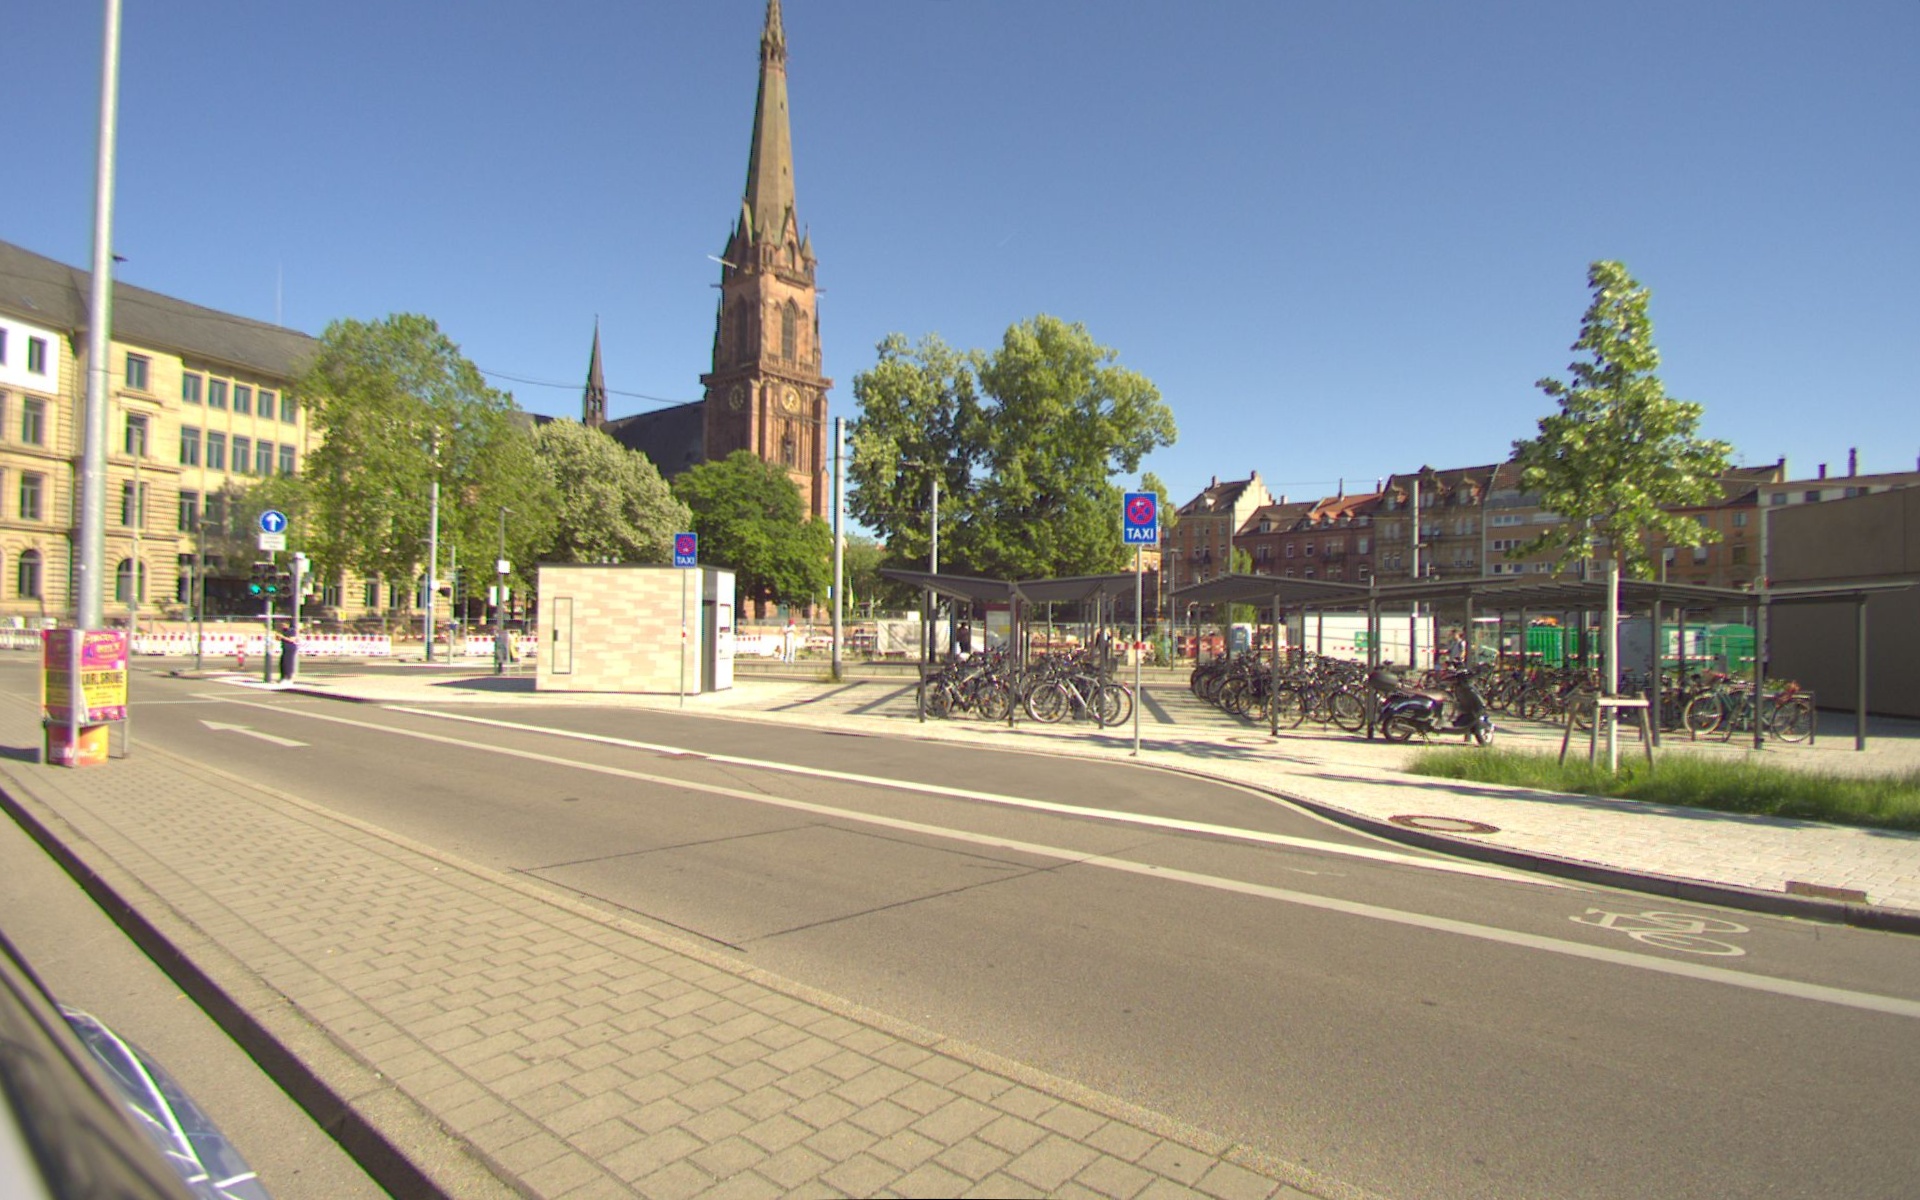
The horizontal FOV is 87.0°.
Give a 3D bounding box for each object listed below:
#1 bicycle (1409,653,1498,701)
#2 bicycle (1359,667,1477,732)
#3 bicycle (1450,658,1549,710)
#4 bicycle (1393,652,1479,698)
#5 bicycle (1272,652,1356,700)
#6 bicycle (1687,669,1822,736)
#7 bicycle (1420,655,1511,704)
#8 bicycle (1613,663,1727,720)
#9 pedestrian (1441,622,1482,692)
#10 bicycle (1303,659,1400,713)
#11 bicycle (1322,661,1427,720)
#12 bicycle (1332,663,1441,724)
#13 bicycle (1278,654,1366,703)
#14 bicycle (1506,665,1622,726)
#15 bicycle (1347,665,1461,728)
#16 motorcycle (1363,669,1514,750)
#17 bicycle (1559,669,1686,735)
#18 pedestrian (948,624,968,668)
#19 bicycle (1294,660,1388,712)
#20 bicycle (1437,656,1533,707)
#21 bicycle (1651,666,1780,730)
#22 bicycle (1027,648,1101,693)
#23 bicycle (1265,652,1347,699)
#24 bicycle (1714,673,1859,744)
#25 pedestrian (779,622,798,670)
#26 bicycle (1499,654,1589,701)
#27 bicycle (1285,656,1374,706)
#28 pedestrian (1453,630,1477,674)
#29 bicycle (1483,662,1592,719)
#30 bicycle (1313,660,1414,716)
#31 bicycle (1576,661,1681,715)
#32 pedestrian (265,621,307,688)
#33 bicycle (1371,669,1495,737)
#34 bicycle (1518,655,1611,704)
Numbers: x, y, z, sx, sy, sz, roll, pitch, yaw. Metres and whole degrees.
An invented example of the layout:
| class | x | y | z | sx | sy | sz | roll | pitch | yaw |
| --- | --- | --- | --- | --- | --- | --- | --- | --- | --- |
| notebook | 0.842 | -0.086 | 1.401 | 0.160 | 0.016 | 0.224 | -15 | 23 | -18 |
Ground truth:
| class | x | y | z | sx | sy | sz | roll | pitch | yaw |
| --- | --- | --- | --- | --- | --- | --- | --- | --- | --- |
| bicycle | 11.447 | 1.786 | 23.503 | 1.765 | 1.046 | 0.567 | 1 | -3 | 4 |
| bicycle | 7.894 | 1.714 | 17.498 | 1.765 | 1.046 | 0.567 | 1 | -3 | 4 |
| bicycle | 11.374 | 1.764 | 21.372 | 1.765 | 1.046 | 0.567 | 1 | -3 | 4 |
| bicycle | 11.378 | 1.783 | 24.217 | 1.765 | 1.046 | 0.567 | 1 | -3 | 4 |
| bicycle | 8.243 | 1.757 | 23.598 | 1.765 | 1.046 | 0.567 | 1 | -3 | 4 |
| bicycle | 13.388 | 1.725 | 17.082 | 1.765 | 1.046 | 0.567 | 1 | -3 | 4 |
| bicycle | 11.414 | 1.792 | 22.882 | 1.765 | 1.046 | 0.567 | 1 | -3 | 4 |
| bicycle | 13.798 | 1.771 | 19.703 | 1.765 | 1.046 | 0.567 | 1 | -3 | 4 |
| pedestrian | 12.806 | 1.445 | 25.845 | 0.670 | 1.736 | 0.620 | 1 | -2 | -19 |
| bicycle | 8.064 | 1.769 | 20.879 | 1.765 | 1.046 | 0.567 | 1 | -3 | 4 |
| bicycle | 7.962 | 1.730 | 19.481 | 1.765 | 1.046 | 0.567 | 1 | -3 | 4 |
| bicycle | 7.930 | 1.731 | 18.845 | 1.765 | 1.046 | 0.567 | 1 | -3 | 4 |
| bicycle | 8.199 | 1.777 | 22.963 | 1.765 | 1.046 | 0.567 | 1 | -3 | 4 |
| bicycle | 11.213 | 1.767 | 18.826 | 1.765 | 1.046 | 0.567 | 1 | -3 | 4 |
| bicycle | 7.920 | 1.707 | 18.101 | 1.765 | 1.046 | 0.567 | 1 | -3 | 4 |
| motorcycle | 7.171 | 1.627 | 15.236 | 1.962 | 1.128 | 0.593 | 0 | -2 | 8 |
| bicycle | 11.454 | 1.753 | 17.534 | 1.765 | 1.046 | 0.567 | 1 | -3 | 4 |
| pedestrian | -0.084 | 1.764 | 39.088 | 0.518 | 1.667 | 0.559 | -1 | 0 | 41 |
| bicycle | 8.113 | 1.826 | 21.594 | 1.765 | 1.046 | 0.567 | 1 | -3 | 4 |
| bicycle | 11.435 | 1.779 | 22.089 | 1.765 | 1.046 | 0.567 | 1 | -3 | 4 |
| bicycle | 13.594 | 1.752 | 18.248 | 1.769 | 1.046 | 0.566 | 1 | -3 | 12 |
| bicycle | 2.531 | 1.717 | 24.812 | 1.765 | 1.046 | 0.567 | 1 | -3 | 4 |
| bicycle | 8.273 | 1.797 | 24.234 | 1.765 | 1.046 | 0.567 | 1 | -3 | 4 |
| bicycle | 13.161 | 1.719 | 16.148 | 1.765 | 1.046 | 0.567 | 1 | -3 | 4 |
| pedestrian | -6.373 | 1.700 | 37.567 | 0.529 | 1.736 | 0.684 | 0 | -6 | -19 |
| bicycle | 13.833 | 1.817 | 23.989 | 1.765 | 1.046 | 0.567 | 1 | -3 | 4 |
| bicycle | 8.150 | 1.786 | 22.361 | 1.765 | 1.046 | 0.567 | 1 | -3 | 4 |
| pedestrian | 17.654 | 1.803 | 35.387 | 0.581 | 1.530 | 0.559 | 1 | -2 | 6 |
| bicycle | 11.288 | 1.765 | 19.822 | 1.765 | 1.046 | 0.567 | 1 | -3 | 4 |
| bicycle | 8.021 | 1.748 | 20.169 | 1.765 | 1.046 | 0.567 | 1 | -3 | 4 |
| bicycle | 13.846 | 1.818 | 20.987 | 1.765 | 1.046 | 0.567 | 1 | -3 | 4 |
| pedestrian | -17.580 | 1.401 | 26.410 | 0.648 | 1.693 | 0.779 | -1 | 0 | 42 |
| bicycle | 7.852 | 1.693 | 16.835 | 1.765 | 1.046 | 0.567 | 1 | -3 | 4 |
| bicycle | 13.887 | 1.817 | 23.274 | 1.765 | 1.046 | 0.567 | 1 | -3 | 4 |
